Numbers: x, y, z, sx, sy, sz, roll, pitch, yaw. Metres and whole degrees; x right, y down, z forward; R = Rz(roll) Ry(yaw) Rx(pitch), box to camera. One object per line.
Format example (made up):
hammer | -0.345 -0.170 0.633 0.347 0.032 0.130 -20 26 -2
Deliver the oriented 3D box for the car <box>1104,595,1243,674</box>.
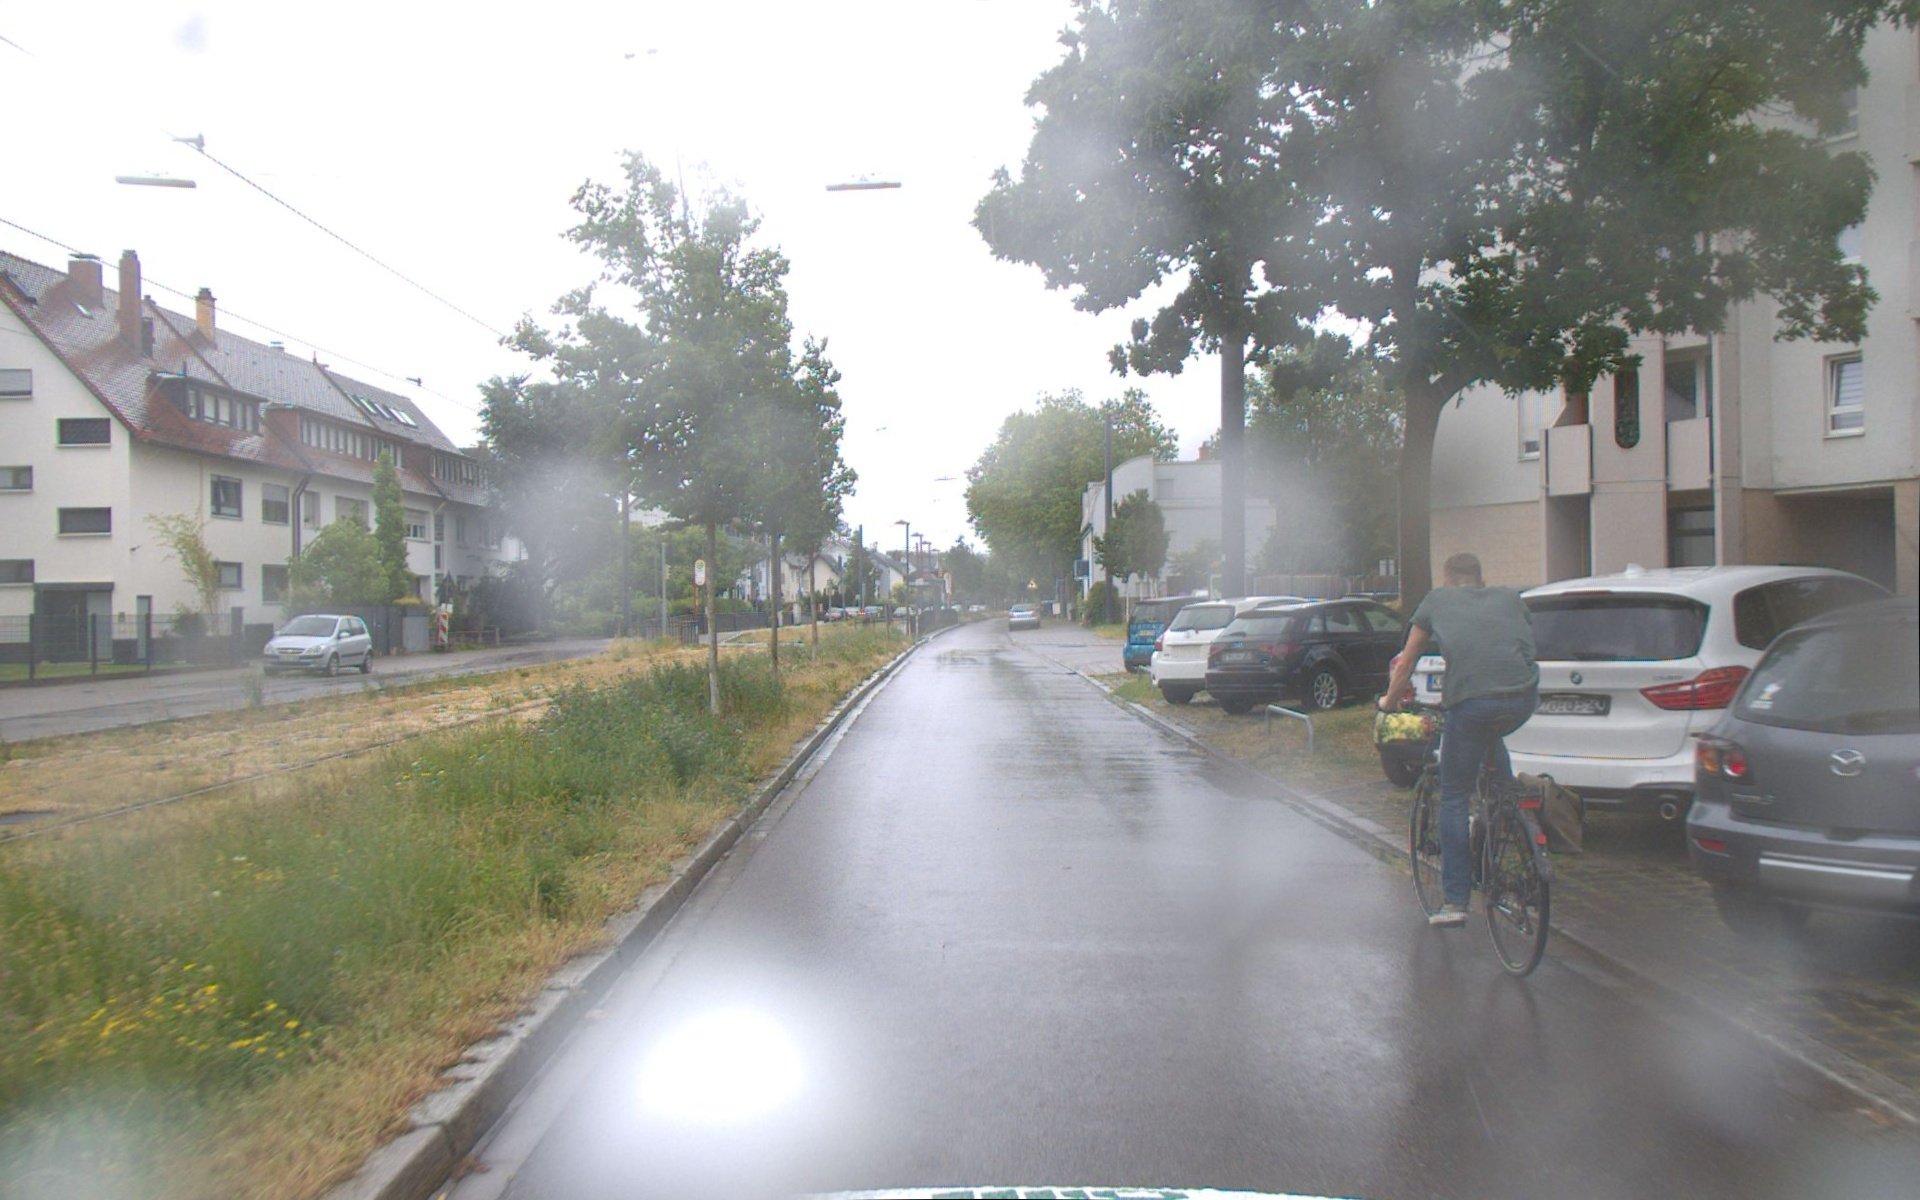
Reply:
car | 4.497 0.715 34.767 2.541 1.575 1.580 -1 -1 -40

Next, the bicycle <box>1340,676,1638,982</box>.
bicycle | 2.240 0.912 7.270 0.526 1.112 1.946 0 -1 -5

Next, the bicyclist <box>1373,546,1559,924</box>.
bicyclist | 2.234 0.576 7.372 0.524 1.587 0.771 0 -2 -6

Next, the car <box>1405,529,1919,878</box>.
car | 4.942 0.479 10.617 4.420 1.700 1.786 -4 1 -40

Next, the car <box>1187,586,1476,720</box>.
car | 5.053 0.666 22.291 3.904 1.456 1.662 -4 1 -38

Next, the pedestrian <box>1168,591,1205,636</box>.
pedestrian | 7.828 0.468 57.185 0.826 1.544 1.084 1 -2 -29

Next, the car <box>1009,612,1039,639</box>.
car | 3.689 1.480 95.513 1.616 1.430 4.650 -4 -2 2

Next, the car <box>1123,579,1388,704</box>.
car | 4.601 0.597 25.451 4.148 1.574 1.739 -4 1 -41

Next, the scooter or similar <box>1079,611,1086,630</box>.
scooter or similar | 6.932 1.159 93.616 0.326 1.104 1.396 0 -1 7

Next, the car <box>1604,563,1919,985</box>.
car | 4.995 0.538 7.448 4.411 1.434 1.746 -4 1 -35

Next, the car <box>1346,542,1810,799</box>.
car | 5.256 0.482 13.838 4.143 1.700 1.662 -4 1 -38

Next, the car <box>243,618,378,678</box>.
car | -16.091 1.178 41.171 1.953 1.438 3.656 0 -1 -2
